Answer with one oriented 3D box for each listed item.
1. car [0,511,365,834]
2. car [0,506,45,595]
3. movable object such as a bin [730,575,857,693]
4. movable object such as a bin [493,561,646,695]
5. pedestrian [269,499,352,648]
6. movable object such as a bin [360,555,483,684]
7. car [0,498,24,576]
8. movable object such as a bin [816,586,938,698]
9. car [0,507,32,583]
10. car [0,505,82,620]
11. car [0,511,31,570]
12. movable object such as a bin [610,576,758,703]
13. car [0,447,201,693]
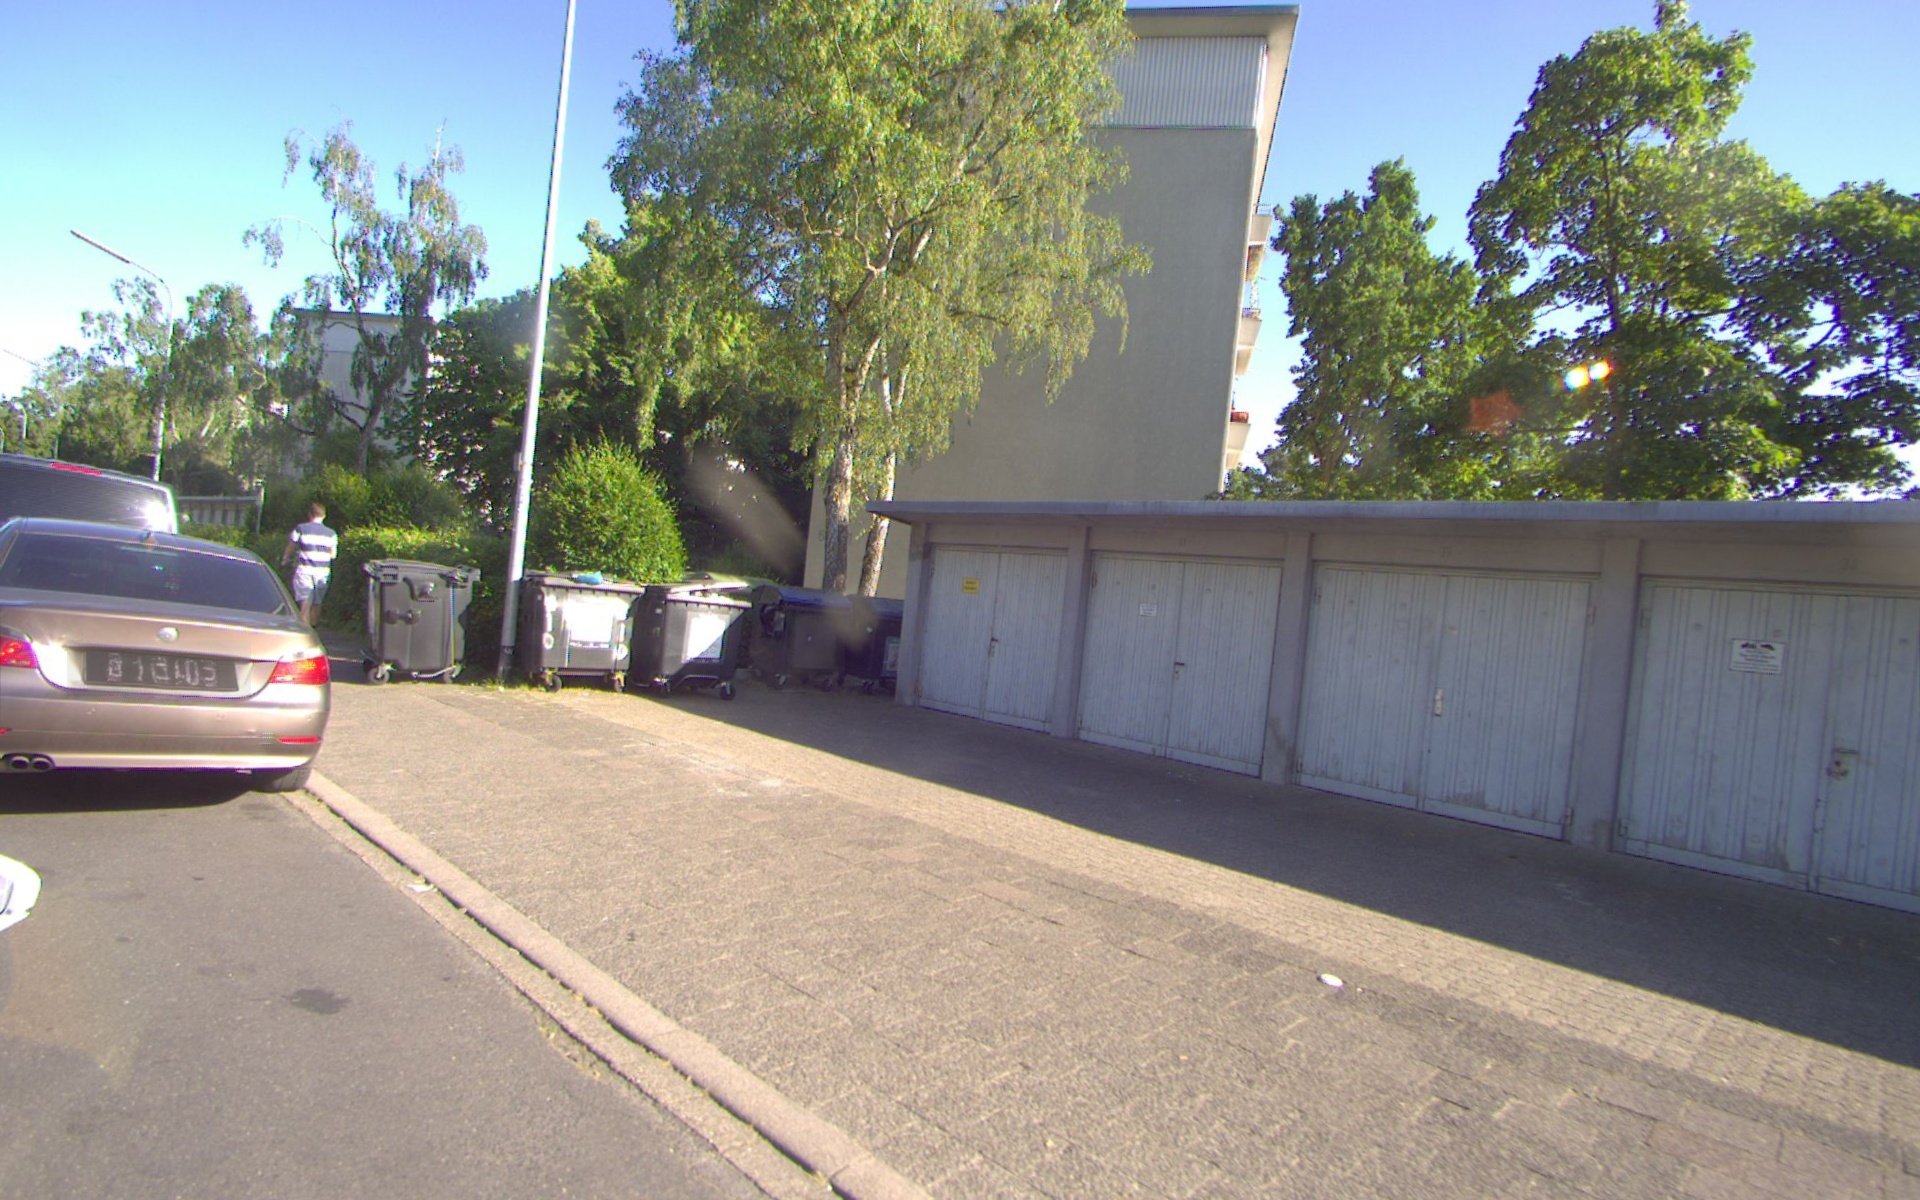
[{"bbox_3d":[-5.526,0.229,6.443,1.797,1.435,4.577,8,-2,-45],"label":"car"},{"bbox_3d":[-18.510,-1.059,18.668,4.439,1.509,1.728,6,0,41],"label":"car"},{"bbox_3d":[-2.432,0.500,14.690,1.272,1.485,1.118,6,4,-43],"label":"movable object such as a bin"},{"bbox_3d":[-4.533,0.322,11.676,1.219,1.382,1.119,6,0,-43],"label":"movable object such as a bin"},{"bbox_3d":[-8.731,-0.358,13.518,0.861,1.913,0.700,6,3,45],"label":"pedestrian"},{"bbox_3d":[-6.121,0.206,11.400,1.019,1.328,1.373,2,2,-36],"label":"movable object such as a bin"},{"bbox_3d":[-23.295,-1.599,23.731,2.549,1.738,1.486,6,-2,43],"label":"car"},{"bbox_3d":[-1.280,0.653,15.416,1.272,1.485,1.118,6,4,-43],"label":"movable object such as a bin"},{"bbox_3d":[-21.295,-1.298,21.934,1.411,1.541,2.527,8,-2,-42],"label":"car"},{"bbox_3d":[-14.774,-0.693,15.317,3.982,1.507,1.621,6,-2,43],"label":"car"},{"bbox_3d":[-26.080,-1.715,26.609,3.841,1.420,1.730,6,-2,41],"label":"car"},{"bbox_3d":[-3.383,0.482,12.344,1.272,1.382,1.119,6,0,-43],"label":"movable object such as a bin"},{"bbox_3d":[-9.342,-0.395,10.083,4.642,1.957,1.850,6,-2,43],"label":"car"}]
